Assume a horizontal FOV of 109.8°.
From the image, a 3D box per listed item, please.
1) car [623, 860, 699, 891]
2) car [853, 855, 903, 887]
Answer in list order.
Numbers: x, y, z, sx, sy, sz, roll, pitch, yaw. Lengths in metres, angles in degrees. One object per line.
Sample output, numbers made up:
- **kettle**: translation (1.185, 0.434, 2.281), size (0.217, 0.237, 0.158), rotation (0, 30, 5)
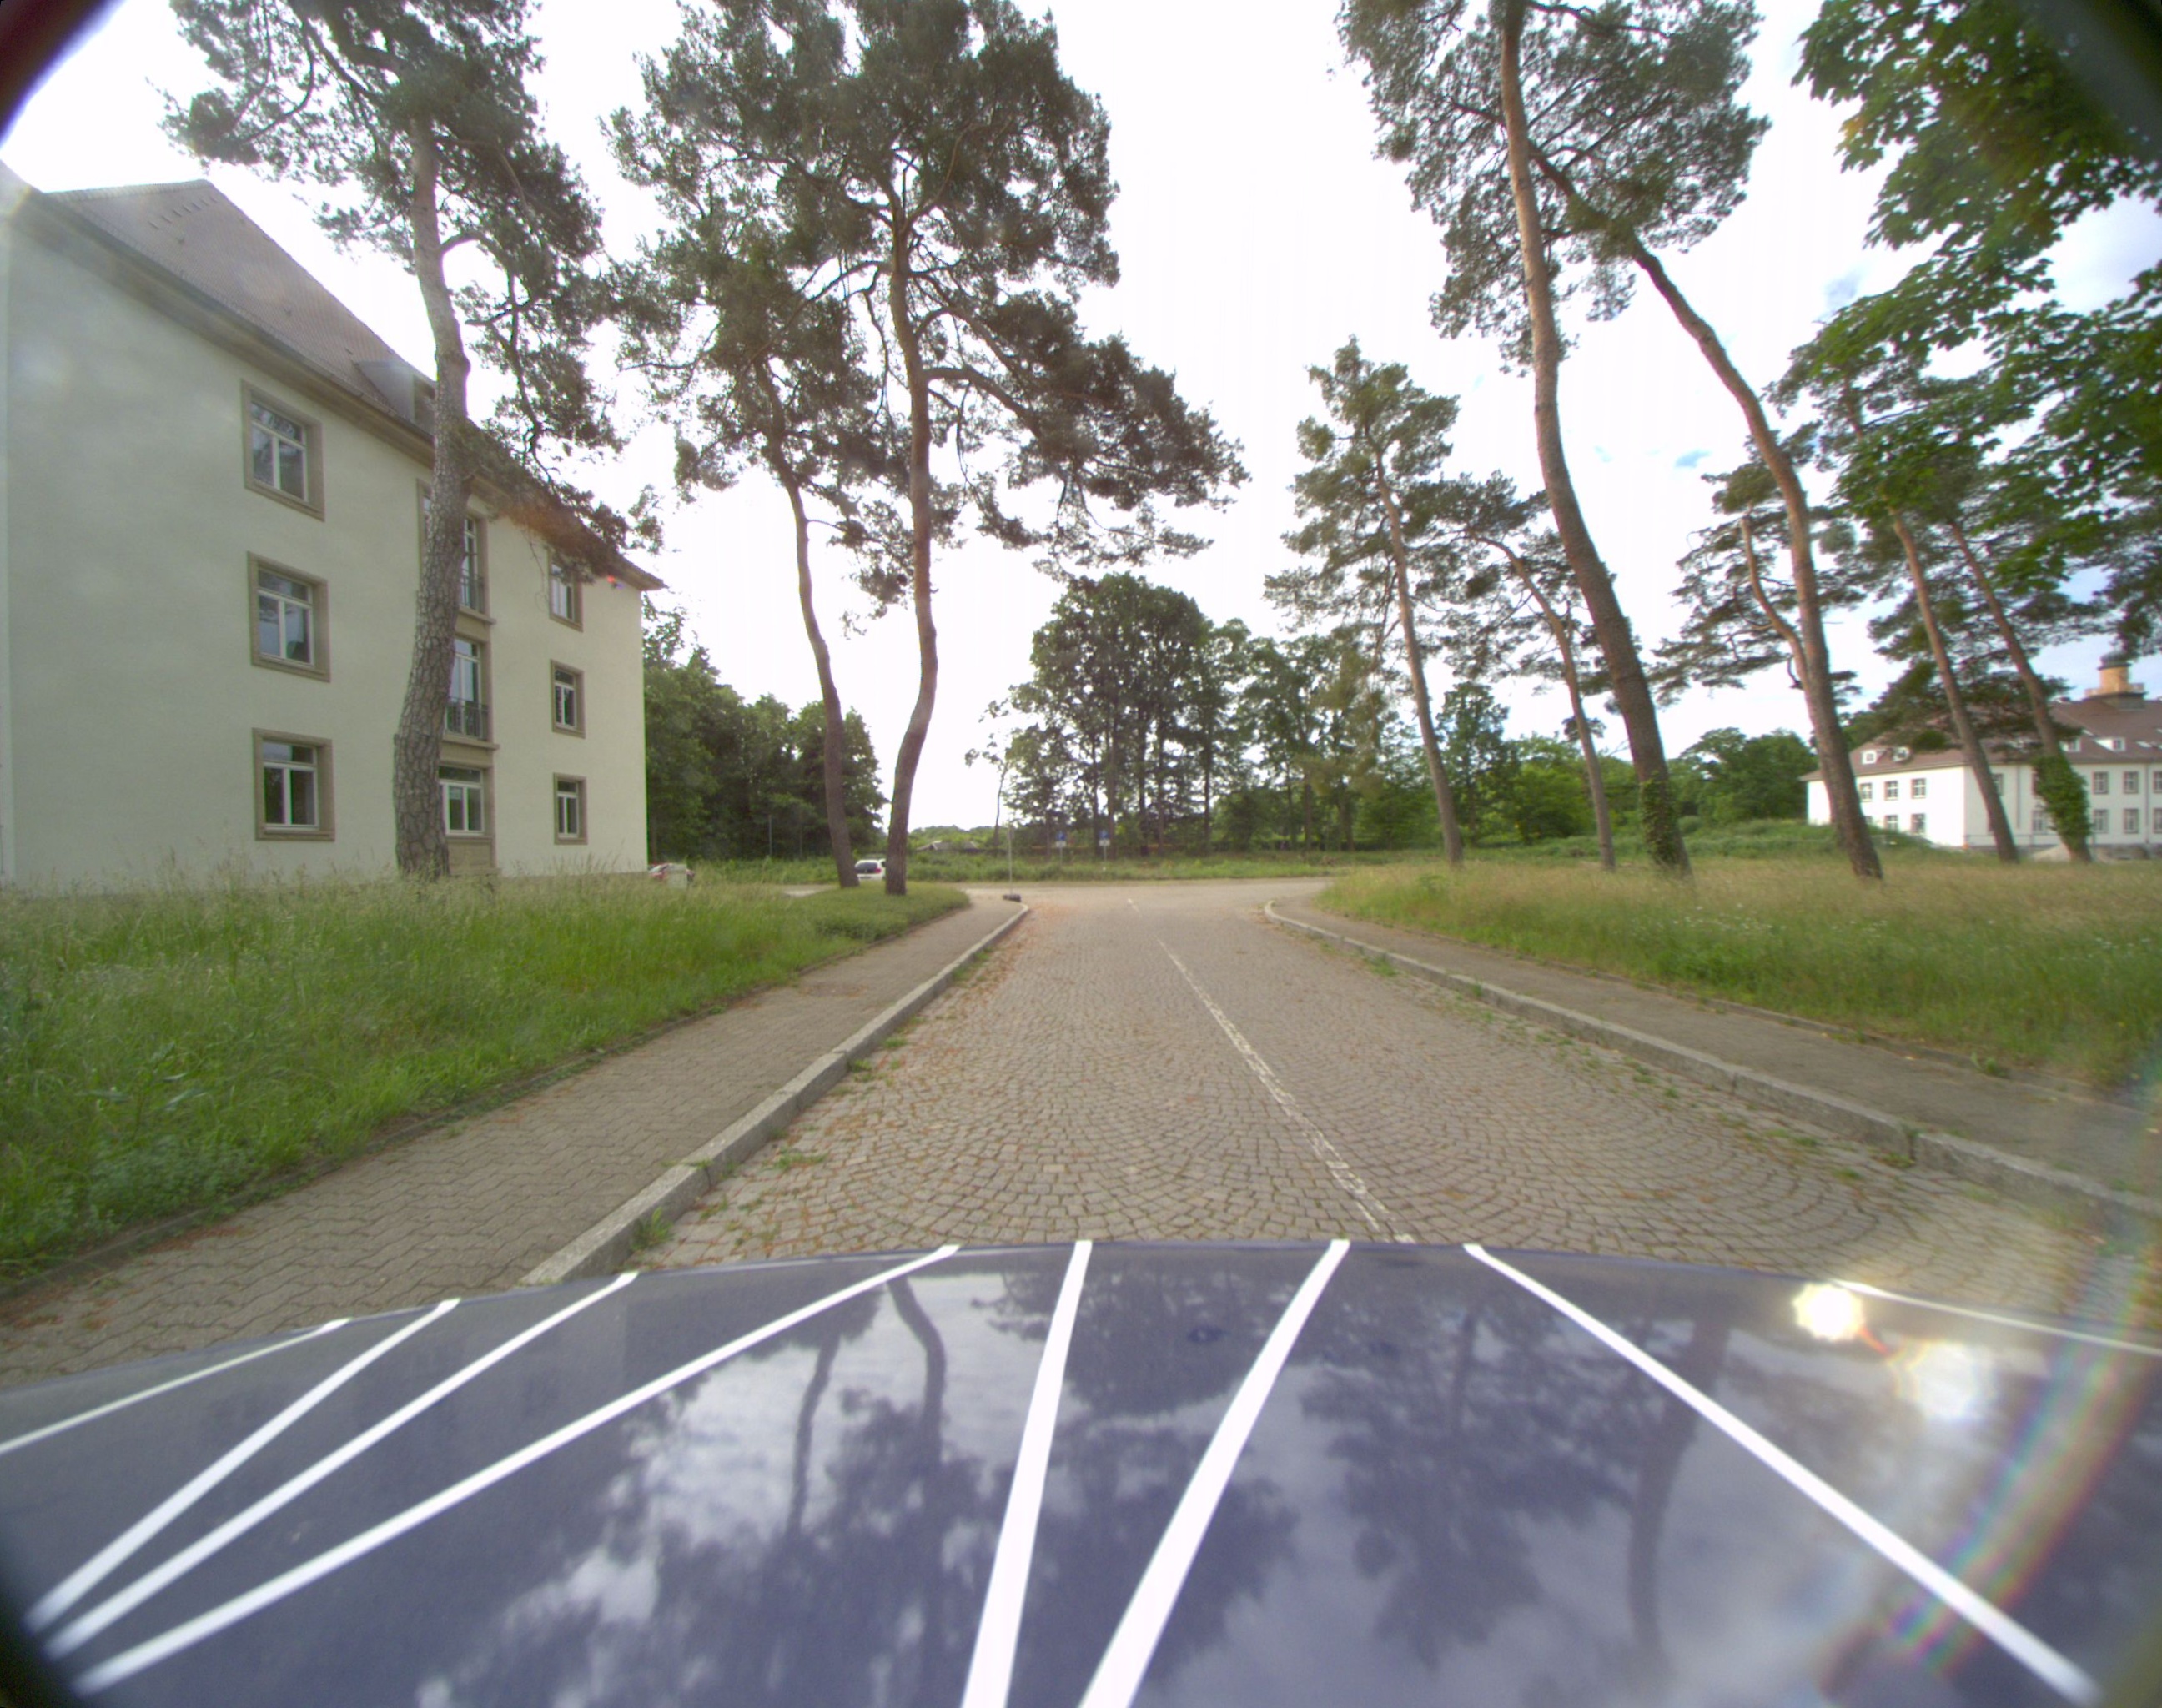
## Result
- **car**: translation (-21.928, 1.080, 39.814), size (1.641, 1.321, 3.998), rotation (-1, 2, 1)
- **car**: translation (-10.622, 0.865, 39.893), size (1.641, 1.426, 3.277), rotation (-1, 3, 1)
